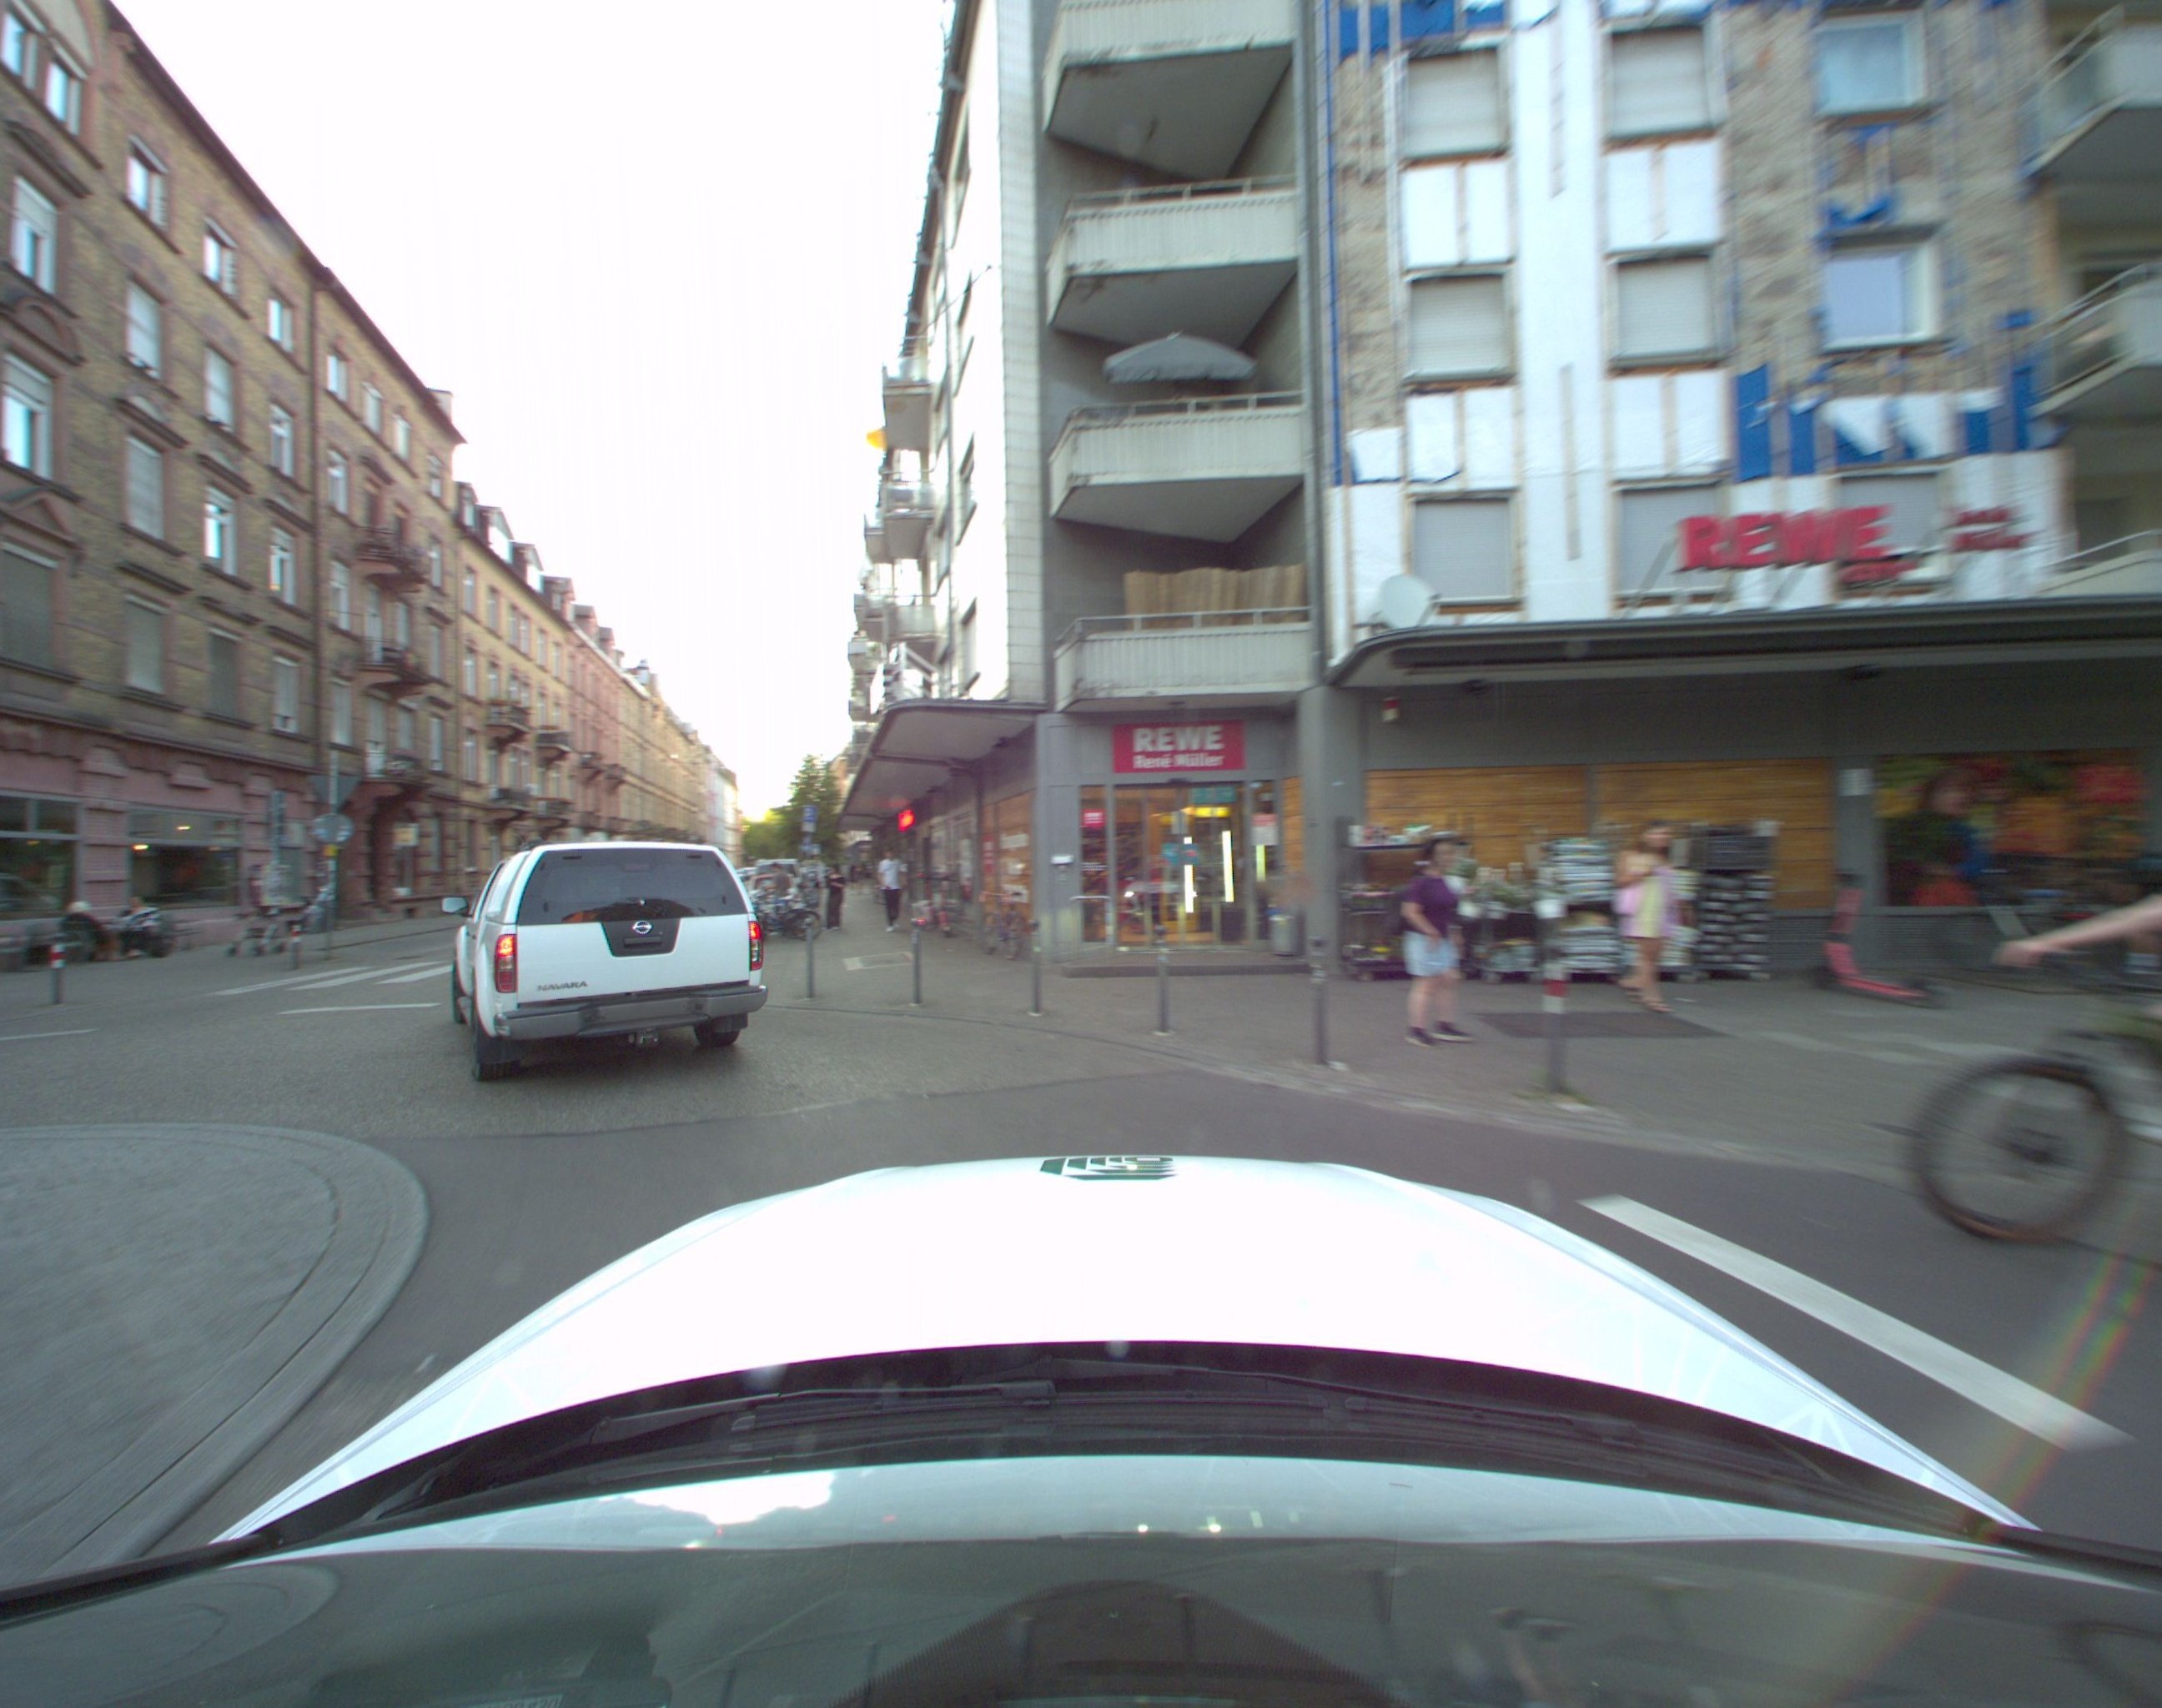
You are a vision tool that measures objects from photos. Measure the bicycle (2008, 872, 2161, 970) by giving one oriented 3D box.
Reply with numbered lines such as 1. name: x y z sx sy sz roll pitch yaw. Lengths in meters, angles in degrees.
1. bicycle: 11.244 0.709 8.792 1.867 1.027 0.378 0 -2 5

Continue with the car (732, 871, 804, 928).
1. car: -9.199 1.274 24.189 1.840 1.542 3.974 0 -2 -19

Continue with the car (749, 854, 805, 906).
1. car: -12.040 1.027 32.447 1.948 1.934 3.974 0 -2 -19

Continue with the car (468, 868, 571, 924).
1. car: -18.821 1.354 27.501 1.840 1.750 3.974 0 -2 -19

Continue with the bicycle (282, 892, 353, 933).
1. bicycle: -21.133 1.591 22.601 0.388 1.037 2.467 0 -2 -17

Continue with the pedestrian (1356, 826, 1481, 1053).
1. pedestrian: 2.674 0.635 6.440 0.709 1.652 0.718 -2 -2 40

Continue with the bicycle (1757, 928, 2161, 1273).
1. bicycle: 4.054 0.870 3.004 2.257 1.073 0.796 -1 0 24

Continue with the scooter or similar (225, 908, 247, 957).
1. scooter or similar: -17.184 1.576 16.576 0.235 0.929 1.250 2 -2 -43

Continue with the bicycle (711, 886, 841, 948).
1. bicycle: -6.411 1.302 17.170 2.472 1.038 0.612 -4 0 -23

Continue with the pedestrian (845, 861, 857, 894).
1. pedestrian: -12.849 1.324 45.512 0.627 1.811 0.785 0 -2 -15

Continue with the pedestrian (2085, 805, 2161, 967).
1. pedestrian: 11.094 0.320 8.355 0.660 1.601 0.720 0 -2 11

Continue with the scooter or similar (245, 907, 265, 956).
1. scooter or similar: -16.995 1.580 16.761 0.235 0.929 1.250 2 -2 -43

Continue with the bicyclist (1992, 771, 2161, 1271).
1. bicyclist: 4.223 0.555 2.936 0.986 1.689 0.795 -1 0 23

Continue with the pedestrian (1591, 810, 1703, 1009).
1. pedestrian: 5.199 0.494 7.526 0.658 1.726 0.726 -1 -2 20

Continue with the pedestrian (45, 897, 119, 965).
1. pedestrian: -18.312 1.403 14.948 0.651 1.191 0.536 1 -2 -22

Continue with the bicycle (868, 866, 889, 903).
1. bicycle: -7.939 1.173 31.820 0.557 1.408 2.080 1 -2 -21

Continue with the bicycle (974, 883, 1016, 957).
1. bicycle: -1.362 1.021 12.842 0.291 1.112 0.957 1 -2 -31

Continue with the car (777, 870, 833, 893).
1. car: -21.079 2.101 62.244 4.000 1.750 1.828 0 -2 -20

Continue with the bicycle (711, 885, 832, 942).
1. bicycle: -6.964 1.325 18.398 2.472 1.038 0.612 -4 0 -24

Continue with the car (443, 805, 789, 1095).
1. car: -4.629 0.698 7.622 1.954 1.810 4.941 -1 -2 -40

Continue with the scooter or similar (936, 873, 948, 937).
1. scooter or similar: -2.858 1.032 16.684 0.219 1.237 0.962 0 0 -11

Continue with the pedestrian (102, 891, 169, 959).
1. pedestrian: -18.652 1.384 16.078 0.651 1.286 0.536 1 -2 -22

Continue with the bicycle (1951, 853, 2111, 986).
1. bicycle: 9.550 0.614 8.263 0.344 1.203 1.820 -1 -2 26

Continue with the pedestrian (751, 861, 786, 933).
1. pedestrian: -7.365 1.002 19.238 0.722 1.663 0.698 0 -2 -18

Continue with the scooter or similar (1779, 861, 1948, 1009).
1. scooter or similar: 7.377 0.707 7.745 0.320 1.266 1.287 0 0 -3

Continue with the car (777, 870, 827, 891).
1. car: -23.803 2.287 69.513 4.000 1.750 1.828 0 -2 -20

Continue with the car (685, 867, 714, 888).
1. car: -32.911 2.029 70.302 1.840 1.750 3.974 0 -2 -19

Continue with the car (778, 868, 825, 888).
1. car: -25.241 2.167 73.647 4.000 1.750 1.828 0 -2 -20

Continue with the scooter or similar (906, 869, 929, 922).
1. scooter or similar: -4.096 1.015 20.388 0.440 1.291 1.658 0 -2 -16

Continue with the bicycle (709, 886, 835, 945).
1. bicycle: -6.719 1.310 17.779 2.472 1.038 0.612 -4 0 -24

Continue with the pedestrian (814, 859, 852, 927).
1. pedestrian: -6.150 0.953 20.256 0.717 1.663 0.702 0 -2 0

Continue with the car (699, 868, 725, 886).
1. car: -35.173 2.185 77.730 1.840 1.750 3.974 0 -2 -19

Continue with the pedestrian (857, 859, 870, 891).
1. pedestrian: -12.098 1.161 45.295 0.634 1.811 0.483 0 -2 -6

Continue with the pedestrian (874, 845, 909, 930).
1. pedestrian: -4.382 0.763 18.835 0.722 1.907 0.698 0 -2 -18
